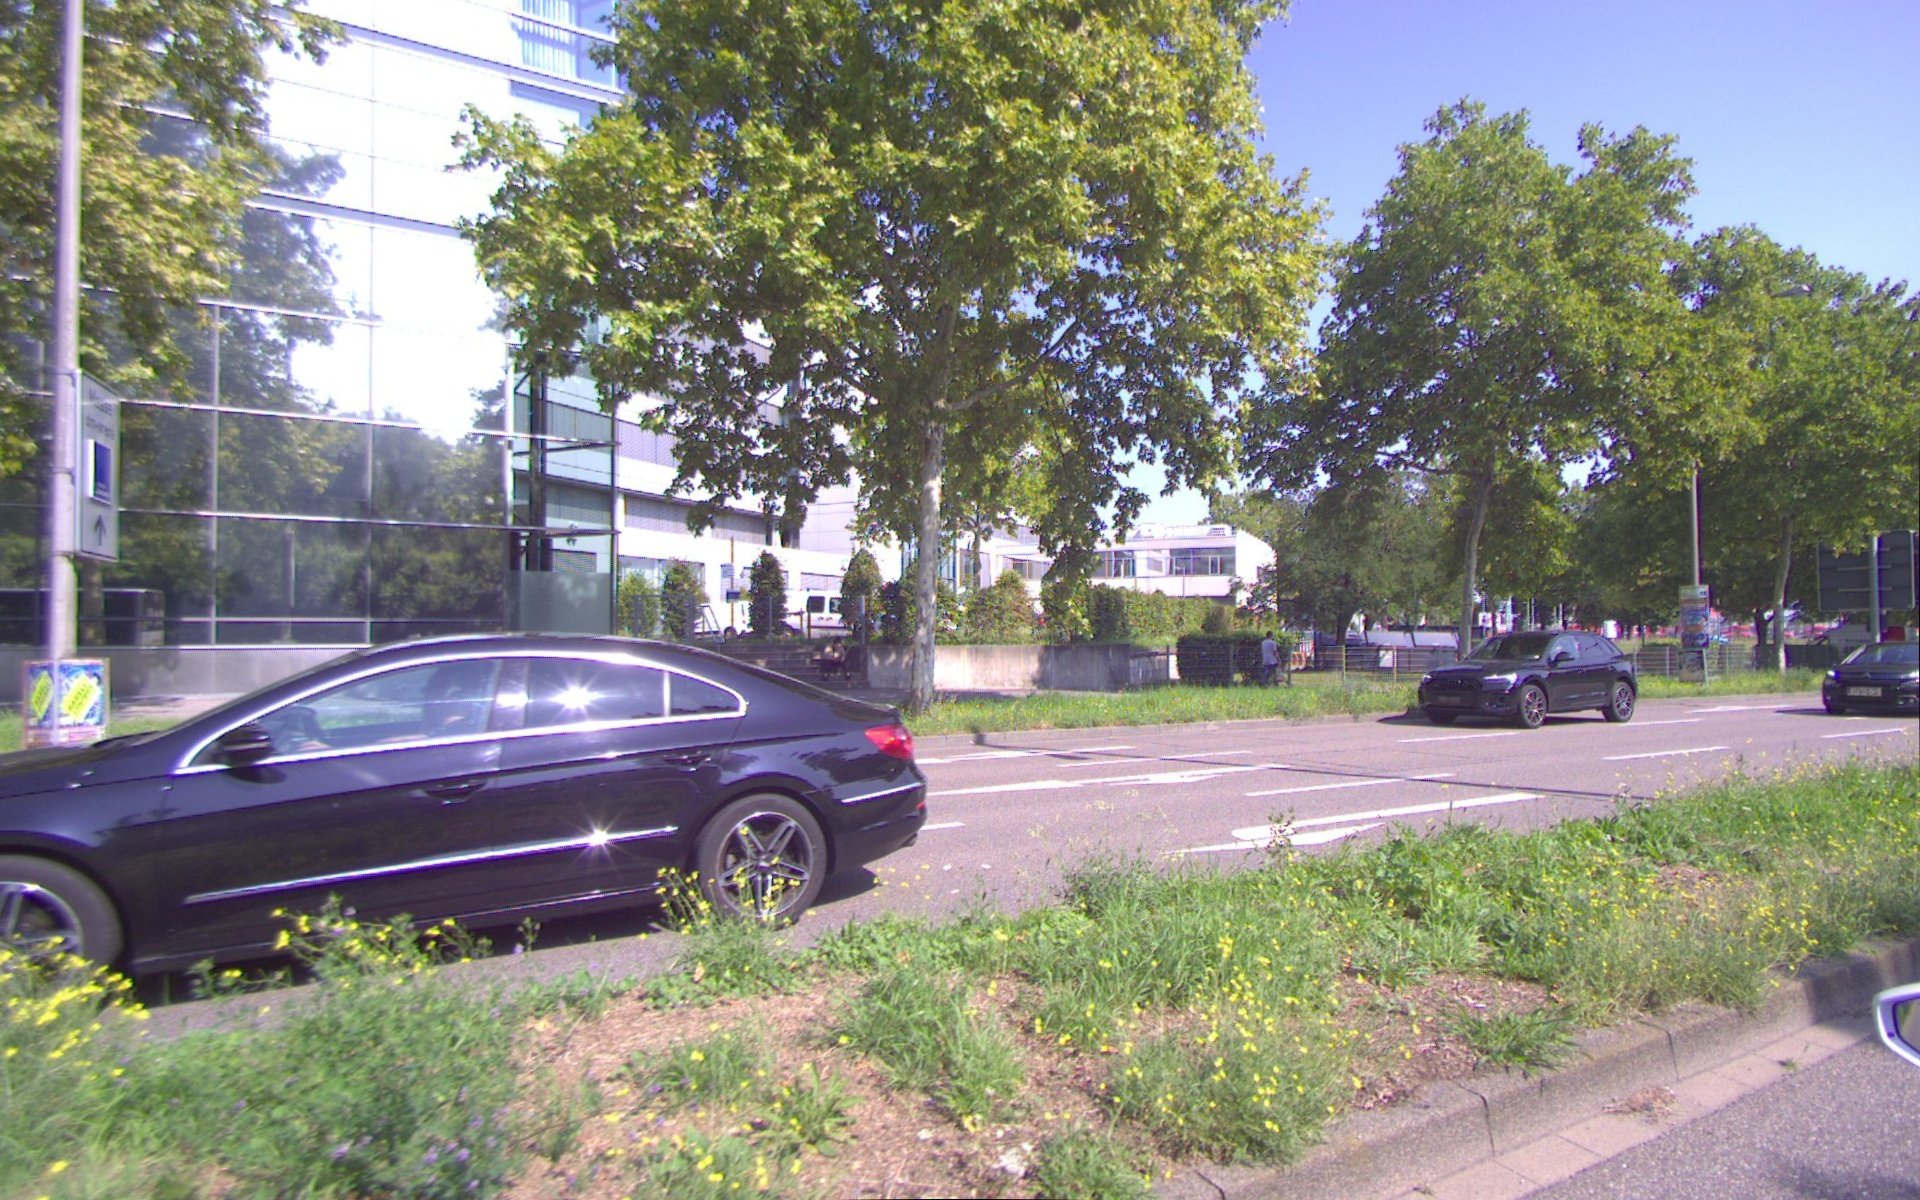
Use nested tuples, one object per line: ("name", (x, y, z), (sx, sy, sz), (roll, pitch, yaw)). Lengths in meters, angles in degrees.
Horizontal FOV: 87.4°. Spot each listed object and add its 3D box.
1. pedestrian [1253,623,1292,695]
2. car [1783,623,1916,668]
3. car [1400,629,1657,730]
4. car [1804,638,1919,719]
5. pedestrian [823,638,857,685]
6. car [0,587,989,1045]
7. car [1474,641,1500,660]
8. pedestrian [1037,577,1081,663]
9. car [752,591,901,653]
("pedestrian", (9.240, 1.720, 29.760), (0.995, 2.041, 1.268), (-1, 1, 13))
("car", (52.896, 2.660, 59.876), (2.252, 2.368, 5.557), (-2, 1, -30))
("car", (10.326, 1.437, 18.214), (4.552, 1.625, 1.840), (2, -5, -27))
("car", (19.307, 1.542, 20.559), (4.260, 1.509, 1.698), (1, -2, -29))
("pedestrian", (-3.033, 1.550, 25.415), (0.556, 1.124, 0.730), (-2, 1, -34))
("car", (-2.287, 0.788, 4.876), (4.587, 1.509, 1.838), (1, -3, -29))
("car", (47.795, 4.539, 91.132), (1.896, 1.472, 3.996), (-1, 1, 25))
("pedestrian", (2.895, 0.566, 29.335), (0.902, 2.423, 0.967), (-2, 1, -22))
("car", (-4.418, 0.715, 33.244), (4.529, 1.927, 1.997), (-1, 1, 27))
